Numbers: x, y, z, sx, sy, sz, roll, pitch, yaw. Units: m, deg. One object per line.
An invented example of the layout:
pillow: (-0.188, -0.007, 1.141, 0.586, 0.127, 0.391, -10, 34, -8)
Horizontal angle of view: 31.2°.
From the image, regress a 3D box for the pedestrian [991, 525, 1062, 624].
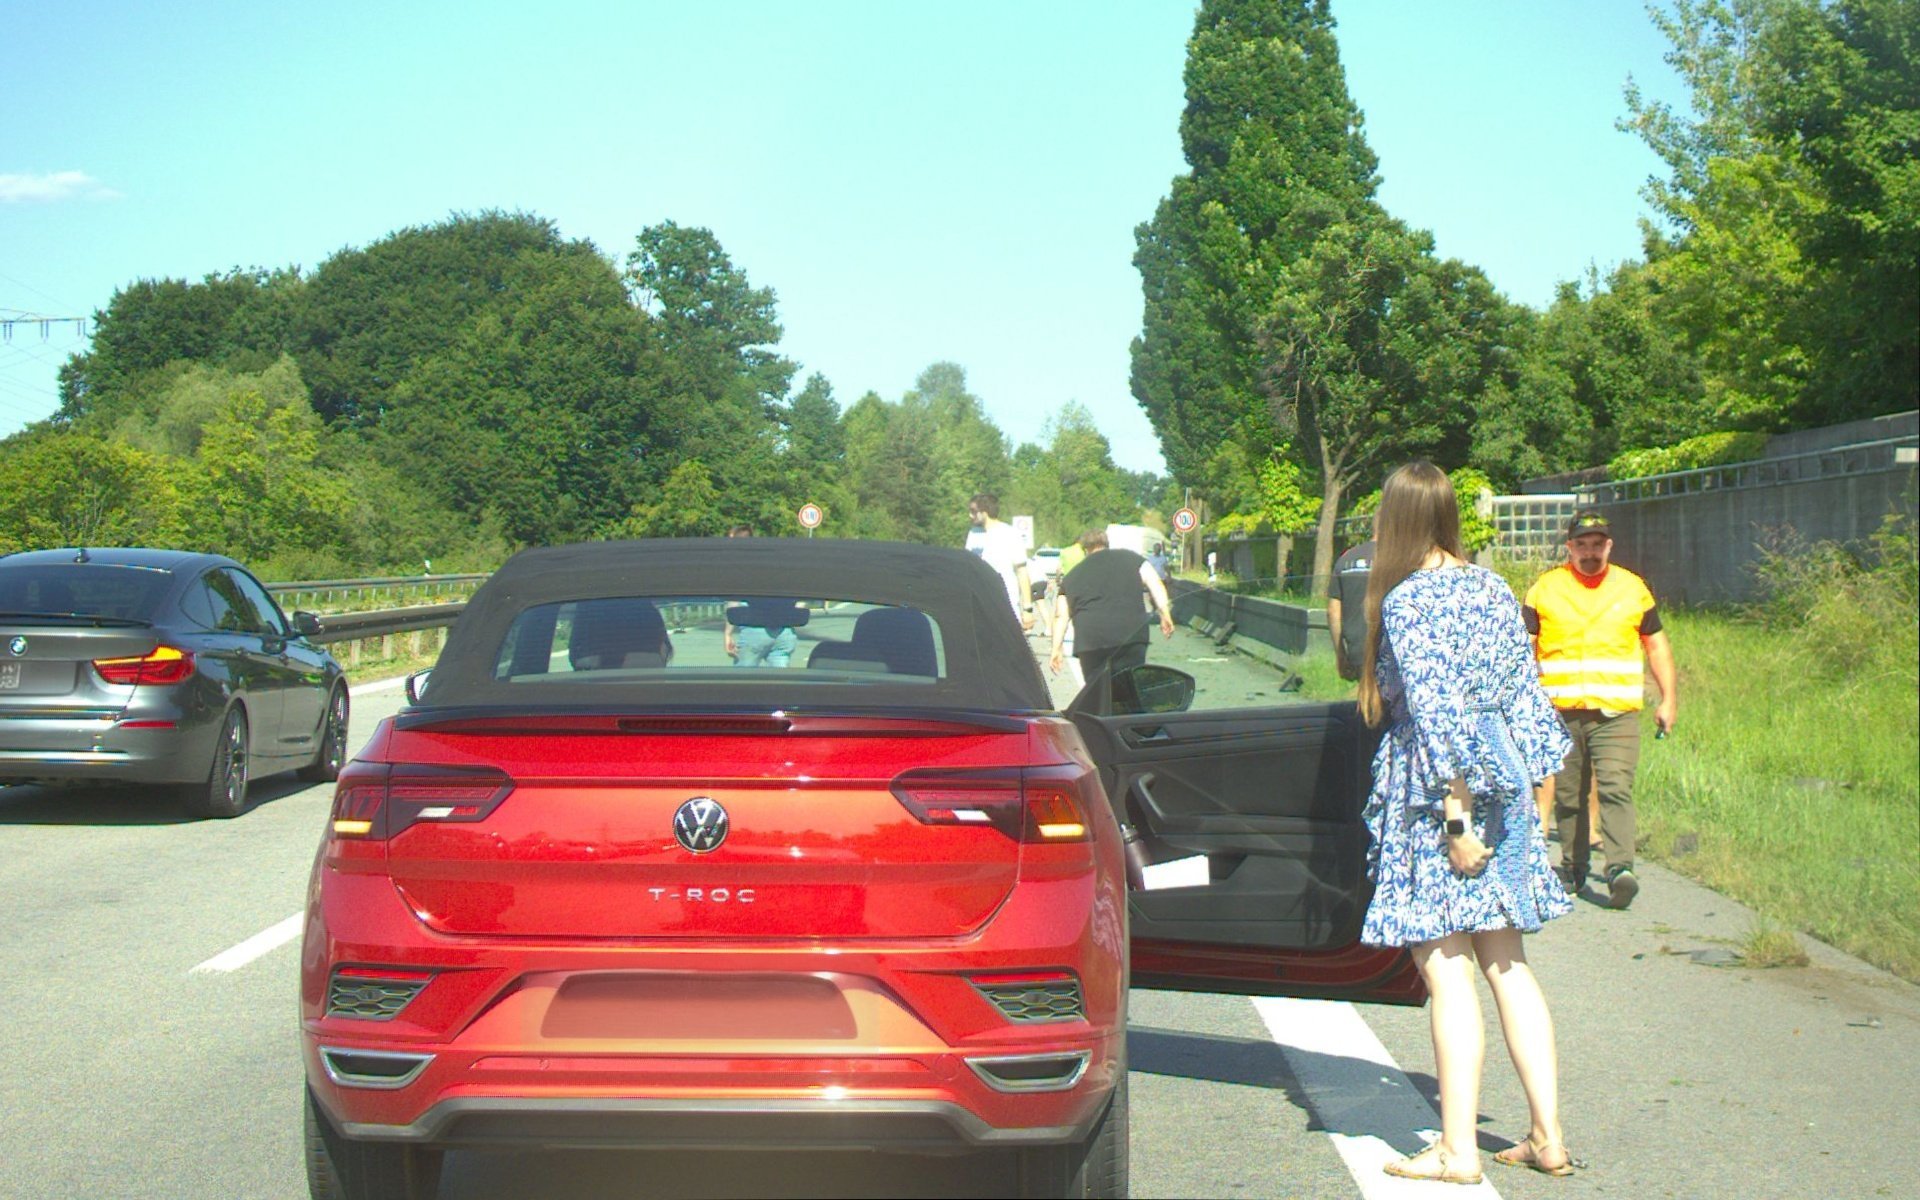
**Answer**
pedestrian: (1.143, -0.440, 59.380, 1.113, 1.683, 0.973, 1, 0, -4)

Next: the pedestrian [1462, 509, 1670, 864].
pedestrian: (3.006, 0.418, 17.122, 0.894, 1.719, 0.754, 1, 0, 2)

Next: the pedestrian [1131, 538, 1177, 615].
pedestrian: (4.319, -0.519, 76.632, 0.996, 1.683, 1.010, 1, 0, 4)

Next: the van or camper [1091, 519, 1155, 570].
van or camper: (7.652, -2.599, 160.905, 1.995, 2.308, 4.467, 1, 1, 16)

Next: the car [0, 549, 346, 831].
car: (-4.796, 0.431, 19.862, 1.694, 1.421, 4.334, 1, 1, 0)

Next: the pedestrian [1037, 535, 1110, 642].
pedestrian: (1.822, -0.194, 55.051, 1.056, 1.683, 1.017, 1, 0, 7)

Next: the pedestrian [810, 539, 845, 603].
pedestrian: (-3.502, -0.763, 90.791, 0.792, 1.683, 0.792, 1, 0, 5)

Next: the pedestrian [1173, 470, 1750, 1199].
pedestrian: (1.166, 0.553, 8.192, 0.889, 1.689, 1.129, -1, 1, -22)

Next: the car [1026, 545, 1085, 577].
car: (4.512, -1.849, 162.032, 1.734, 1.482, 4.207, 1, 1, 17)

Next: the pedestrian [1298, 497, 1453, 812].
pedestrian: (2.394, 0.301, 19.743, 0.812, 1.753, 0.828, 1, 0, 10)

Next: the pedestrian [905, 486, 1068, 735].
pedestrian: (0.196, 0.068, 27.138, 1.105, 1.906, 1.257, -1, 1, -7)

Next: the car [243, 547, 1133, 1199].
car: (-0.526, 0.619, 8.843, 1.732, 1.482, 4.210, 1, 1, 0)

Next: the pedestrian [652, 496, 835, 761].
pedestrian: (-1.492, 0.190, 23.894, 1.104, 1.782, 1.091, 1, 0, 5)

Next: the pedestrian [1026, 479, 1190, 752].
pedestrian: (1.038, 0.099, 24.381, 1.090, 1.876, 1.069, -1, 1, -1)

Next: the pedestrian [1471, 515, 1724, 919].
pedestrian: (2.702, 0.470, 14.707, 0.958, 1.648, 1.278, -1, 1, 7)
